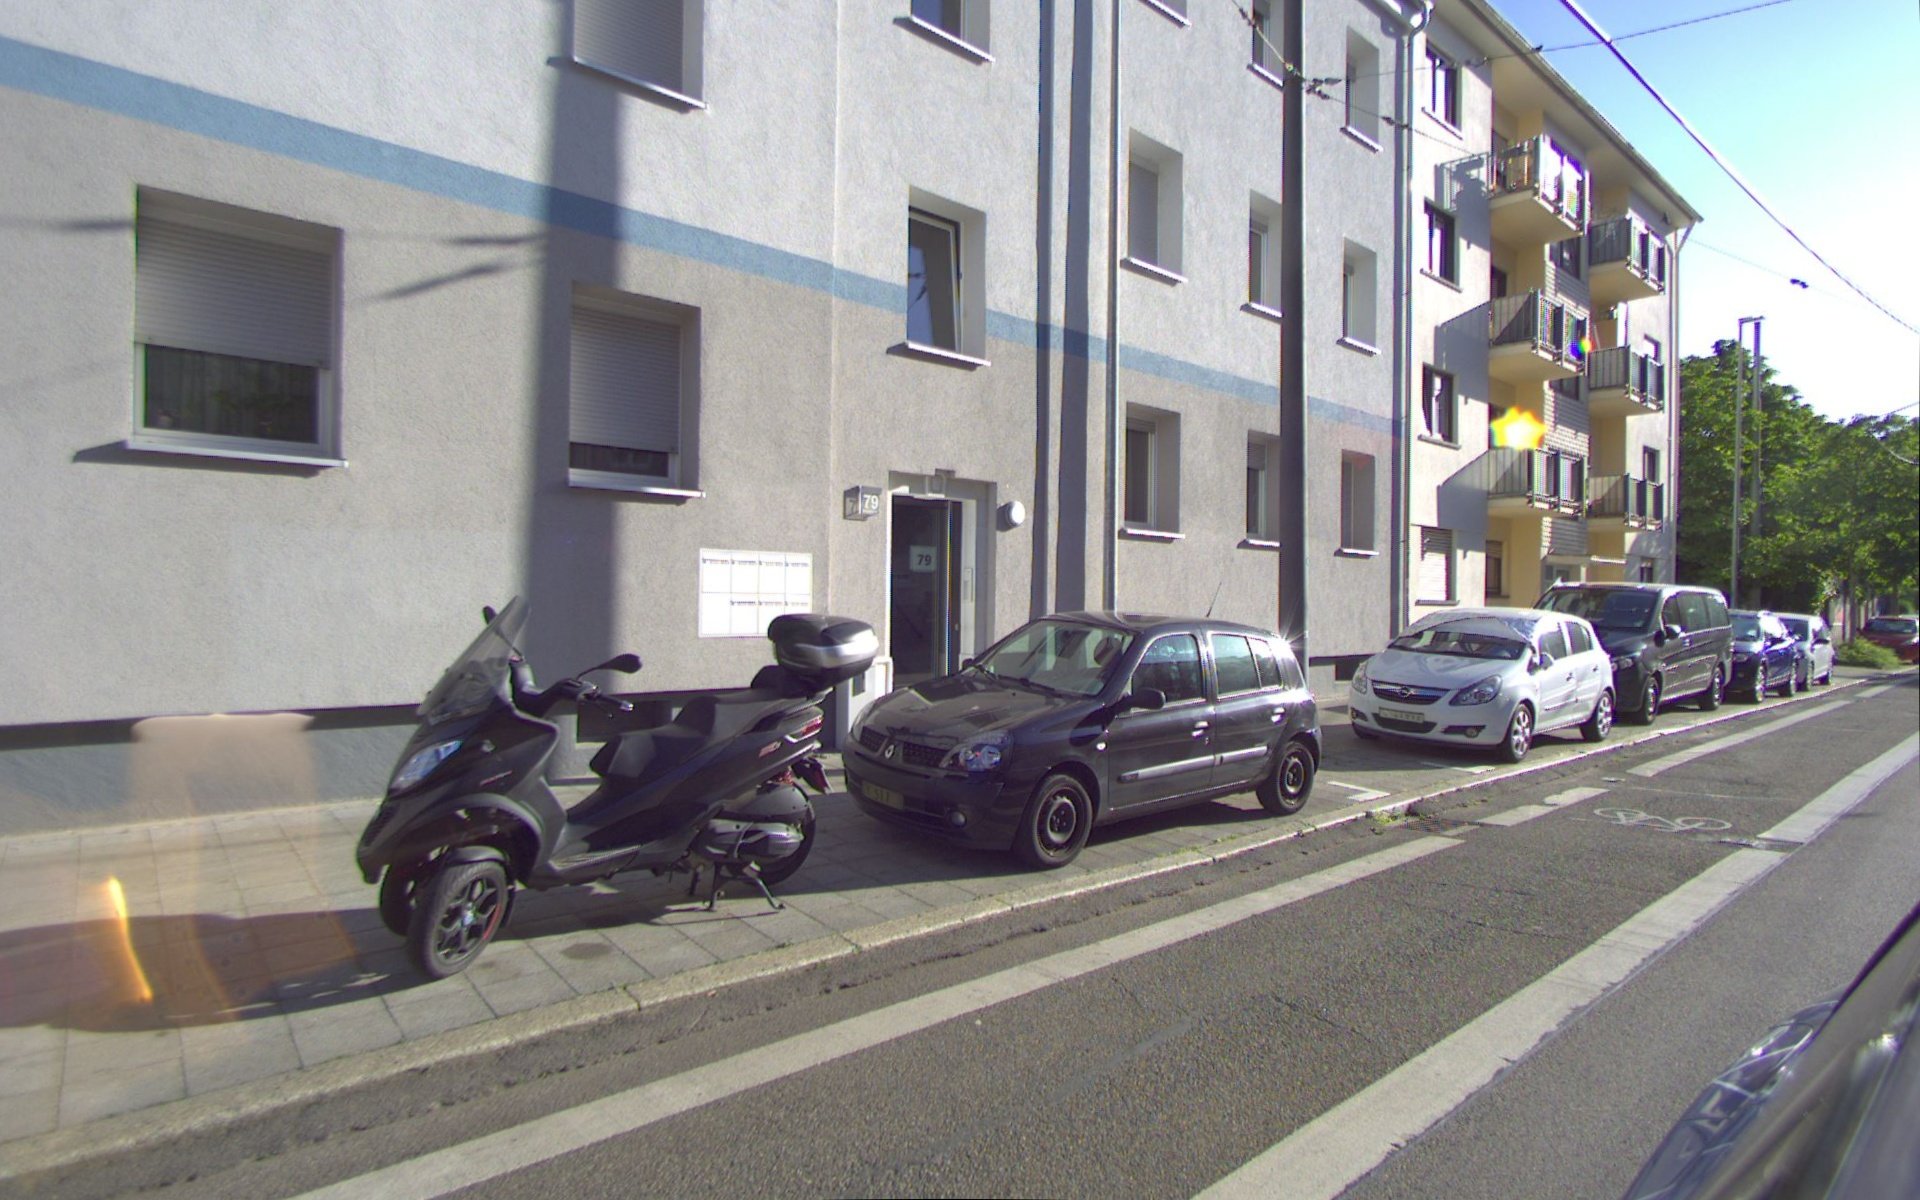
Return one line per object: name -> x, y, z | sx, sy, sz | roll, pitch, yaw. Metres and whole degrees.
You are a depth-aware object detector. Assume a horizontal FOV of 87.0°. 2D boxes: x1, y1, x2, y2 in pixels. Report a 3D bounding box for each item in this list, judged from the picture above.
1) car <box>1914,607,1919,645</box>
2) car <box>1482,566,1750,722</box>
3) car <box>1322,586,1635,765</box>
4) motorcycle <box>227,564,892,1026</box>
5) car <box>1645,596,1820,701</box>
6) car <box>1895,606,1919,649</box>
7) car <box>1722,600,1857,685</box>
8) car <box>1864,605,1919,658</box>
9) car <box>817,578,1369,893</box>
car -> 42.351, 1.125, 43.294 | 4.400, 1.590, 1.827 | 1, 2, -42
car -> 9.868, 0.546, 15.062 | 4.914, 1.945, 1.934 | 1, 2, -40
car -> 5.851, 0.692, 11.241 | 3.836, 1.590, 1.804 | 1, 2, -42
motorcycle -> -1.629, 0.655, 4.586 | 2.661, 1.540, 0.807 | 1, 2, -42
car -> 13.786, 0.781, 17.987 | 4.144, 1.590, 1.612 | 1, 2, -41
car -> 38.316, 1.096, 39.797 | 4.400, 1.590, 1.827 | 1, 2, -42
car -> 17.430, 0.834, 21.228 | 3.568, 1.561, 1.556 | 1, 2, -41
car -> 31.131, 1.014, 33.180 | 4.399, 1.590, 1.612 | 1, 2, -41
car -> 1.089, 0.703, 7.068 | 3.834, 1.590, 1.612 | 1, 2, -40
